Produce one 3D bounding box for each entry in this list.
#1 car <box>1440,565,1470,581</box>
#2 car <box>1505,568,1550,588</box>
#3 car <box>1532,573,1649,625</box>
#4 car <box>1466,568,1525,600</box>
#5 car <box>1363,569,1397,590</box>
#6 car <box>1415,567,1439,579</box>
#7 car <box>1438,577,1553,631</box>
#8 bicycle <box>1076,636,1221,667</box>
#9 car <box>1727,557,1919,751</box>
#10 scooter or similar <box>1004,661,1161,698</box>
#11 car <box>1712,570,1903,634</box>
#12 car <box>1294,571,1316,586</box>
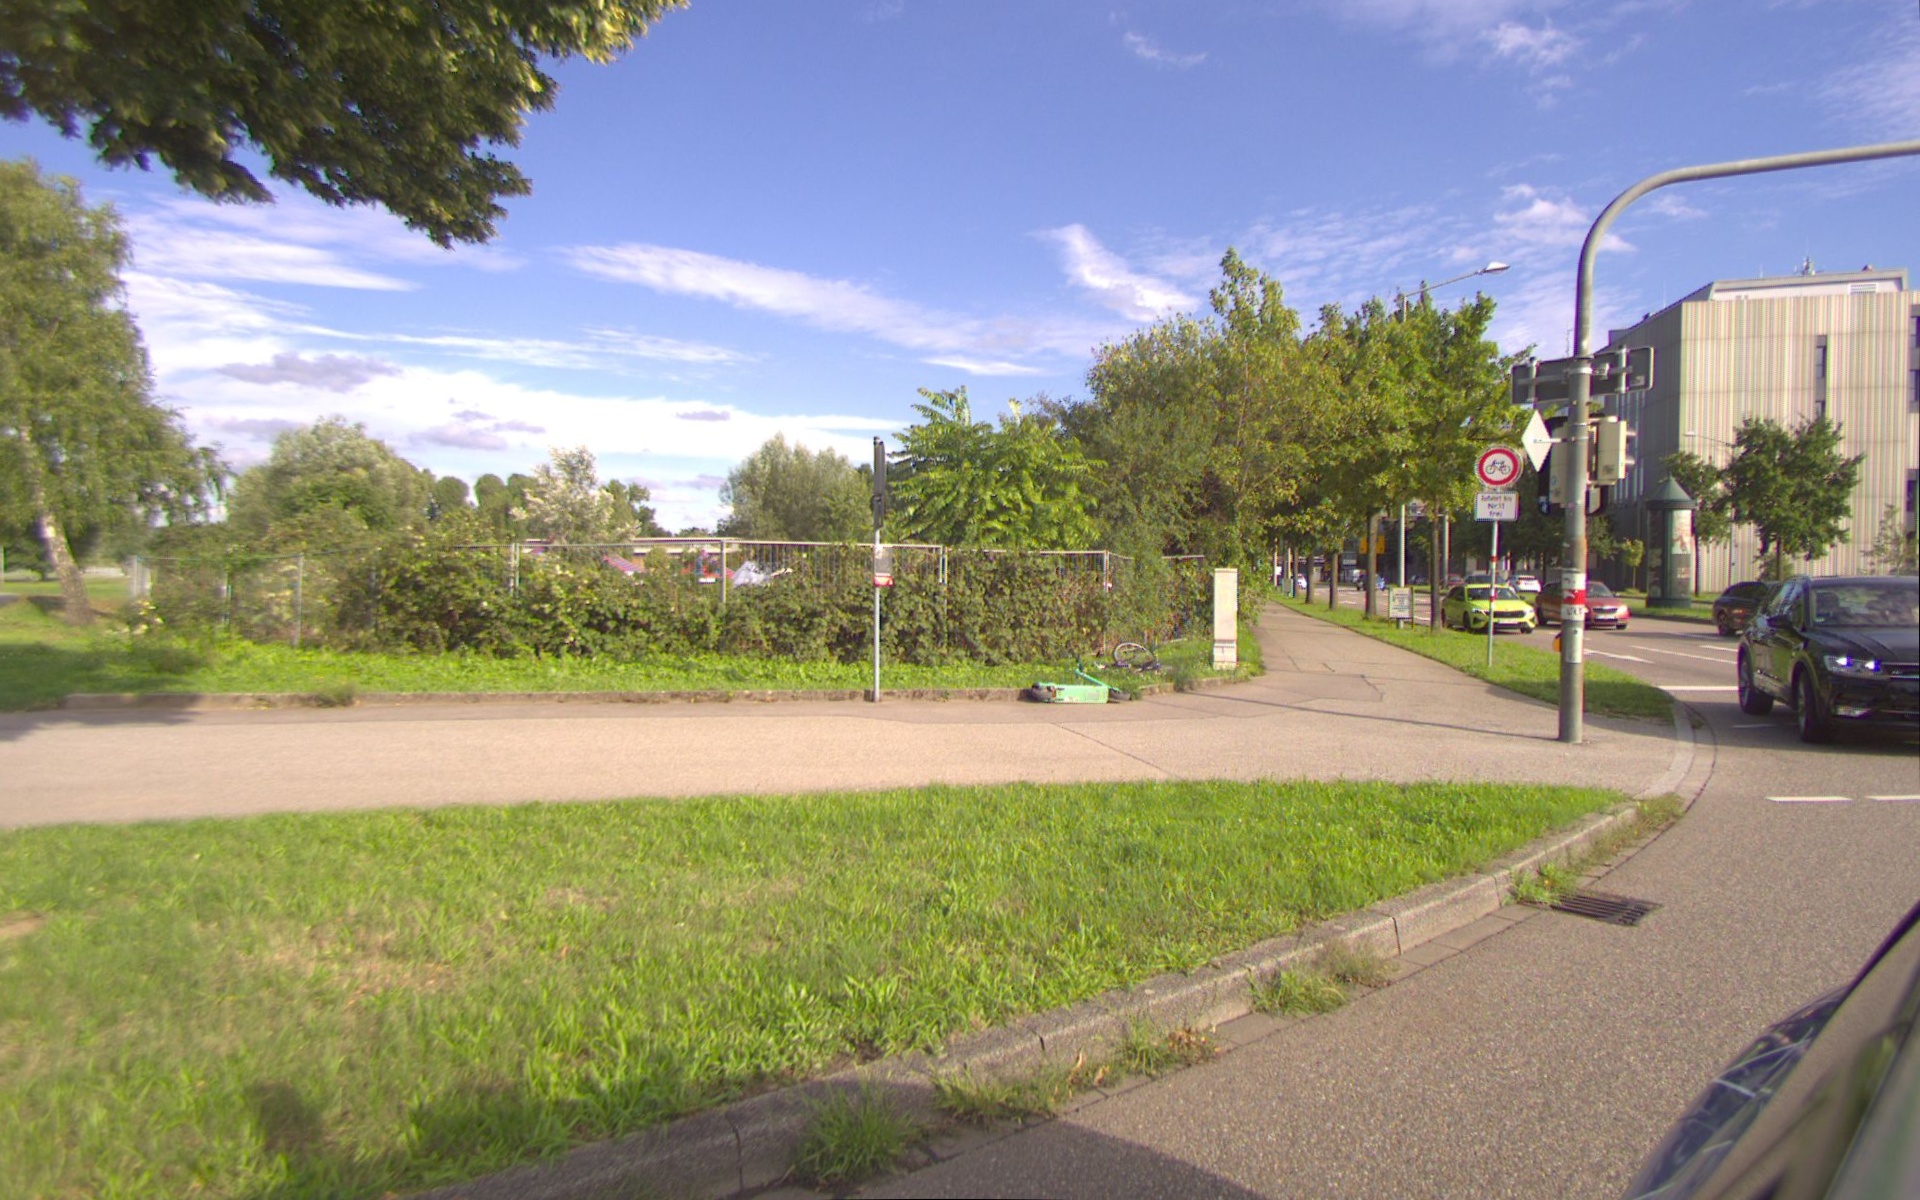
[{"bbox_3d":[46.053,-2.494,94.239,1.660,1.451,3.577,1,2,13],"label":"car"},{"bbox_3d":[42.578,-1.697,76.011,1.659,1.451,3.983,1,2,10],"label":"car"},{"bbox_3d":[19.681,-0.083,31.803,1.668,1.493,4.215,-1,1,10],"label":"car"},{"bbox_3d":[27.685,-0.856,52.404,1.669,1.493,4.211,-1,2,14],"label":"car"},{"bbox_3d":[35.704,-1.747,86.118,1.971,1.682,4.783,1,2,14],"label":"car"},{"bbox_3d":[55.821,-3.259,121.096,1.829,1.451,4.052,0,2,13],"label":"car"},{"bbox_3d":[16.314,0.073,31.085,1.868,1.438,4.591,-3,1,13],"label":"car"},{"bbox_3d":[2.650,0.727,14.577,1.067,0.350,2.254,-1,-1,-20],"label":"bicycle"},{"bbox_3d":[9.891,0.401,10.883,1.856,1.676,4.965,-2,1,29],"label":"car"},{"bbox_3d":[1.412,0.931,11.989,1.521,0.284,1.296,0,2,-10],"label":"scooter or similar"},{"bbox_3d":[20.981,-0.015,25.317,1.797,1.438,4.431,-1,1,13],"label":"car"},{"bbox_3d":[33.471,-2.109,98.239,1.712,1.407,3.984,0,2,14],"label":"car"}]
